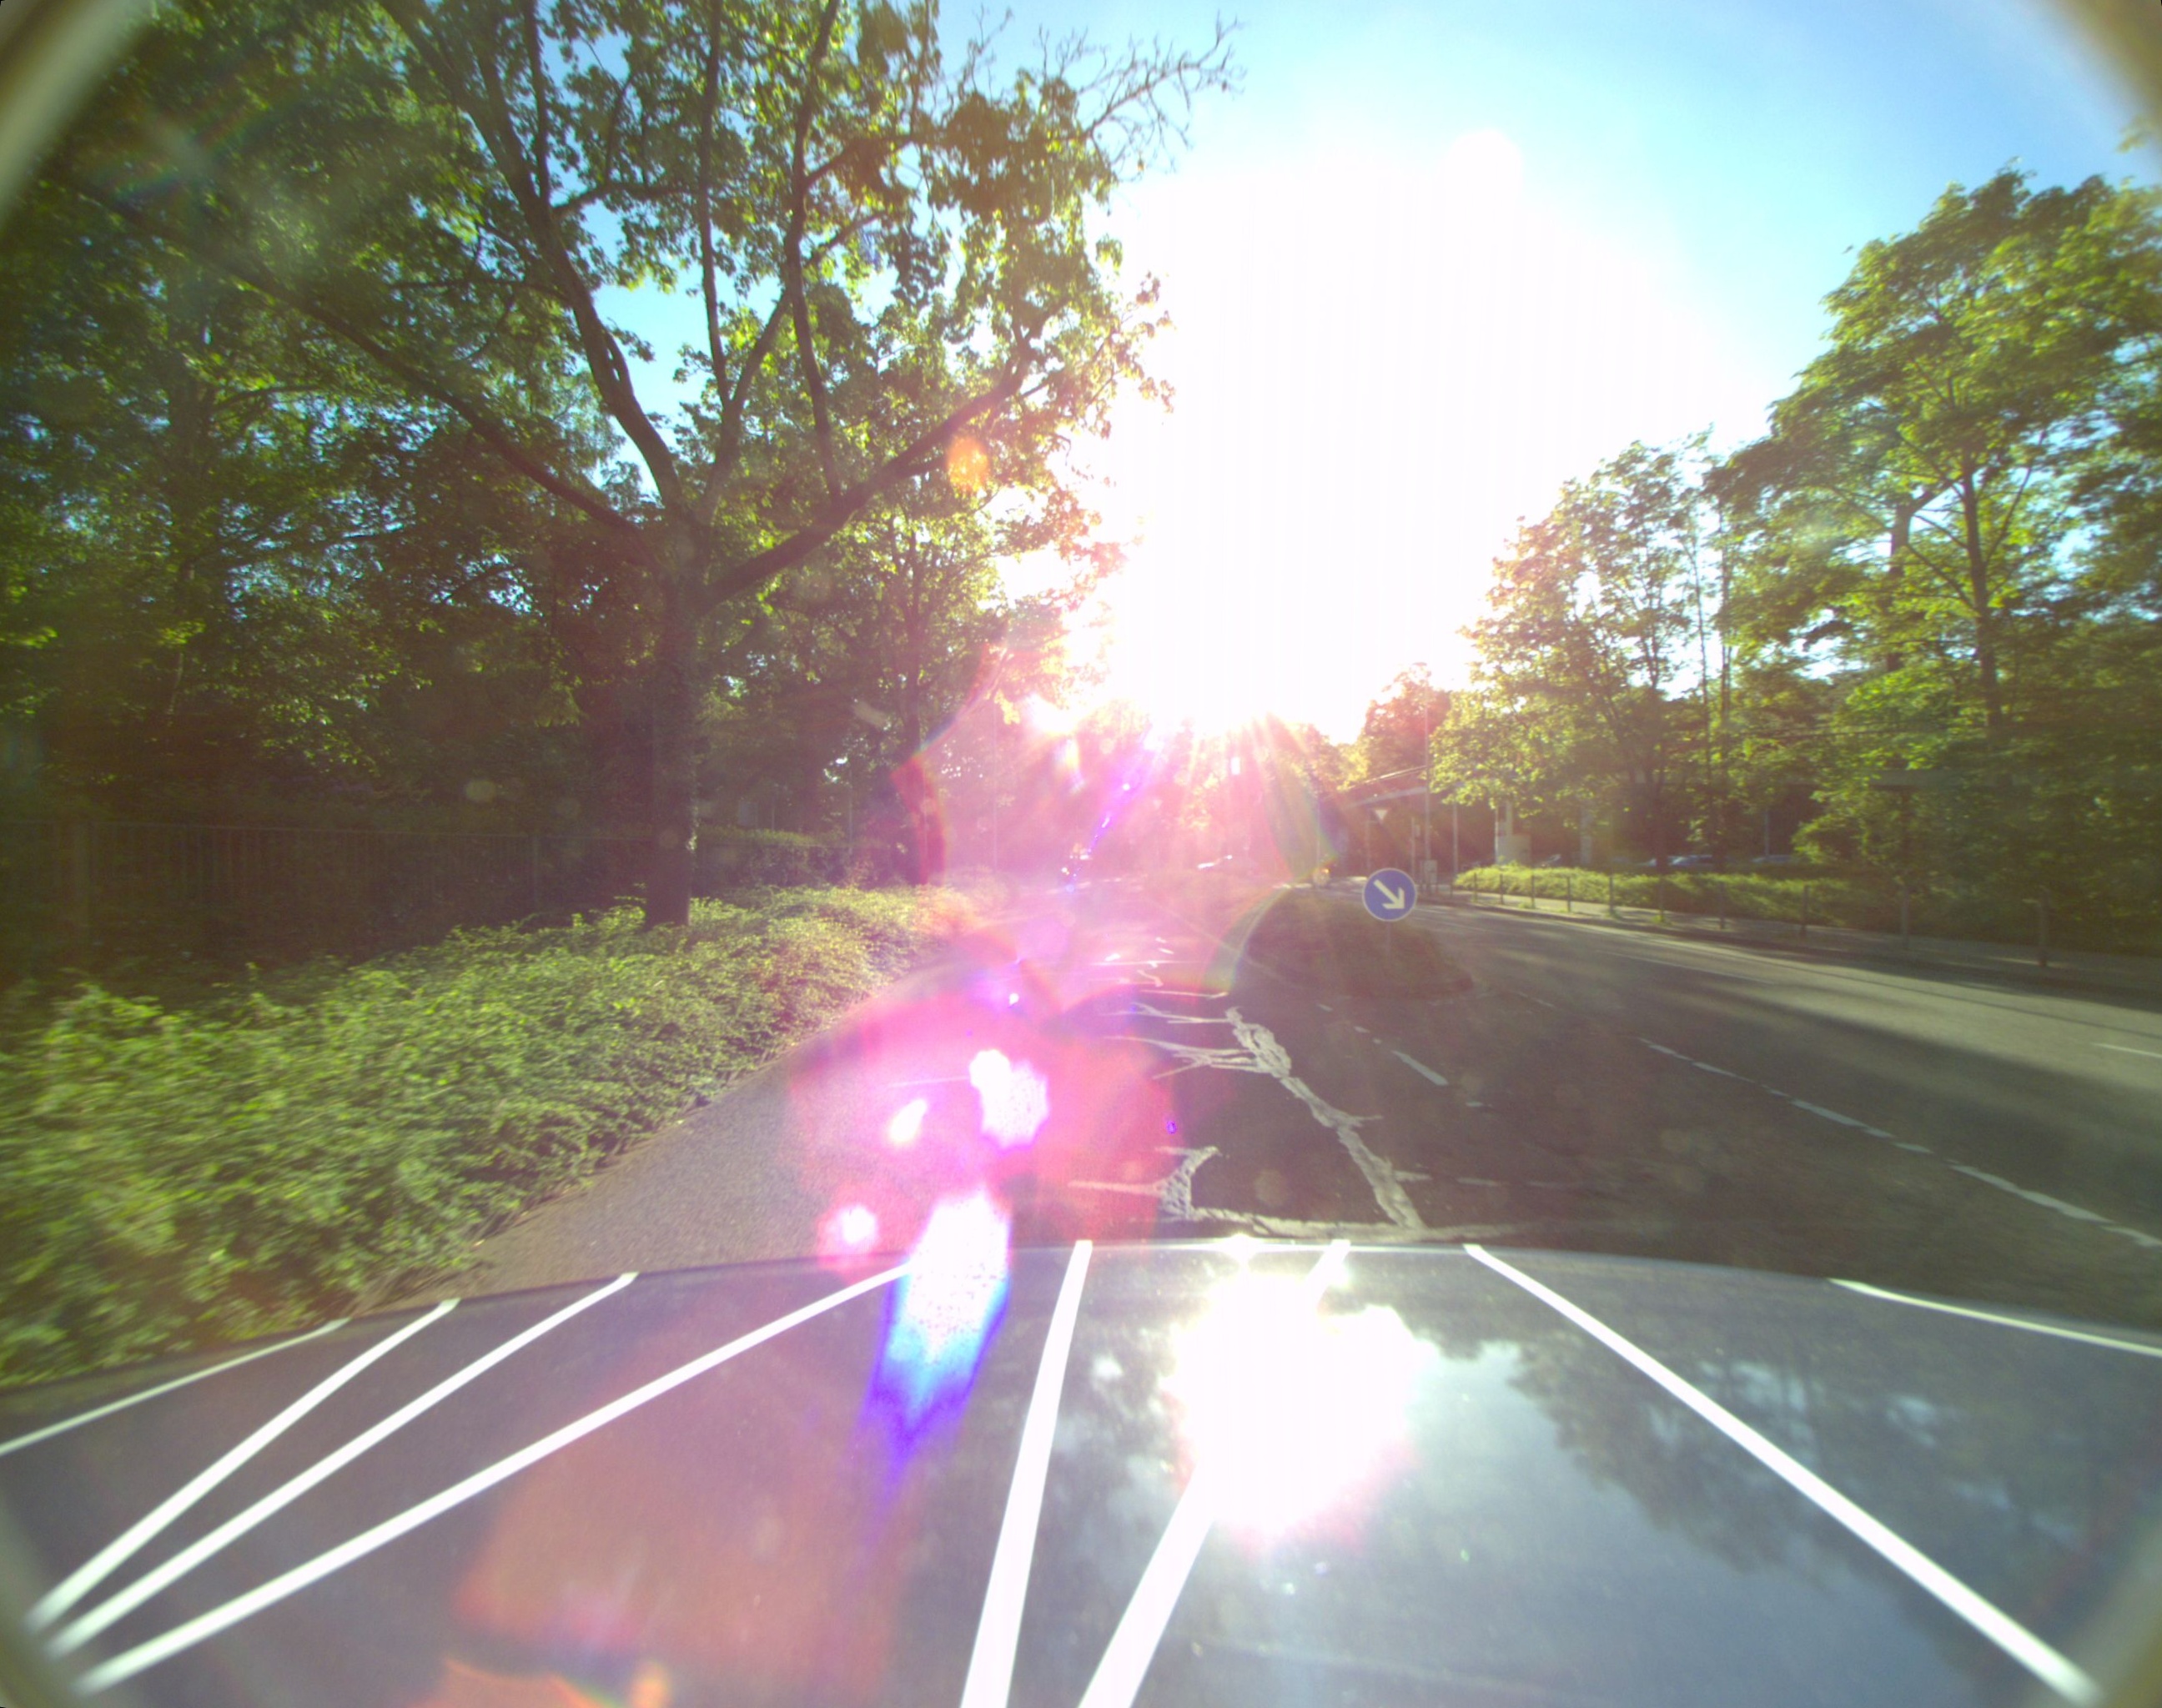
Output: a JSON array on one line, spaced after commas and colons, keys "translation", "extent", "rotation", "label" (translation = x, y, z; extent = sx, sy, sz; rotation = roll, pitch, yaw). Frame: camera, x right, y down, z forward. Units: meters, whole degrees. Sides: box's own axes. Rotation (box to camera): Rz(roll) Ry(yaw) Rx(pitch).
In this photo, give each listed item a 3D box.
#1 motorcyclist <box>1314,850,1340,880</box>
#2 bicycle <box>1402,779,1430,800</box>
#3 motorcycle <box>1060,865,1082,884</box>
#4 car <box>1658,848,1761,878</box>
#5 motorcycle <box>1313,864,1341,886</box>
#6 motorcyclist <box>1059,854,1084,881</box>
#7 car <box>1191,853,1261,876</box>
[{"translation": [12.527, 0.550, 38.710], "extent": [0.949, 1.462, 1.072], "rotation": [0, 1, 39], "label": "motorcyclist"}, {"translation": [24.584, -4.708, 55.763], "extent": [1.051, 1.365, 2.448], "rotation": [-1, 1, 3], "label": "bicycle"}, {"translation": [-0.548, 1.123, 42.256], "extent": [0.807, 0.907, 2.714], "rotation": [-2, 0, 8], "label": "motorcycle"}, {"translation": [35.589, 0.511, 43.111], "extent": [4.316, 1.571, 1.812], "rotation": [0, 3, 1], "label": "car"}, {"translation": [12.518, 1.040, 38.630], "extent": [0.523, 1.062, 2.292], "rotation": [0, 1, 40], "label": "motorcycle"}, {"translation": [-0.527, 0.753, 42.414], "extent": [1.137, 1.419, 1.567], "rotation": [-2, 1, 8], "label": "motorcyclist"}, {"translation": [9.243, 0.642, 48.690], "extent": [4.000, 1.381, 1.867], "rotation": [-1, 1, -9], "label": "car"}]
